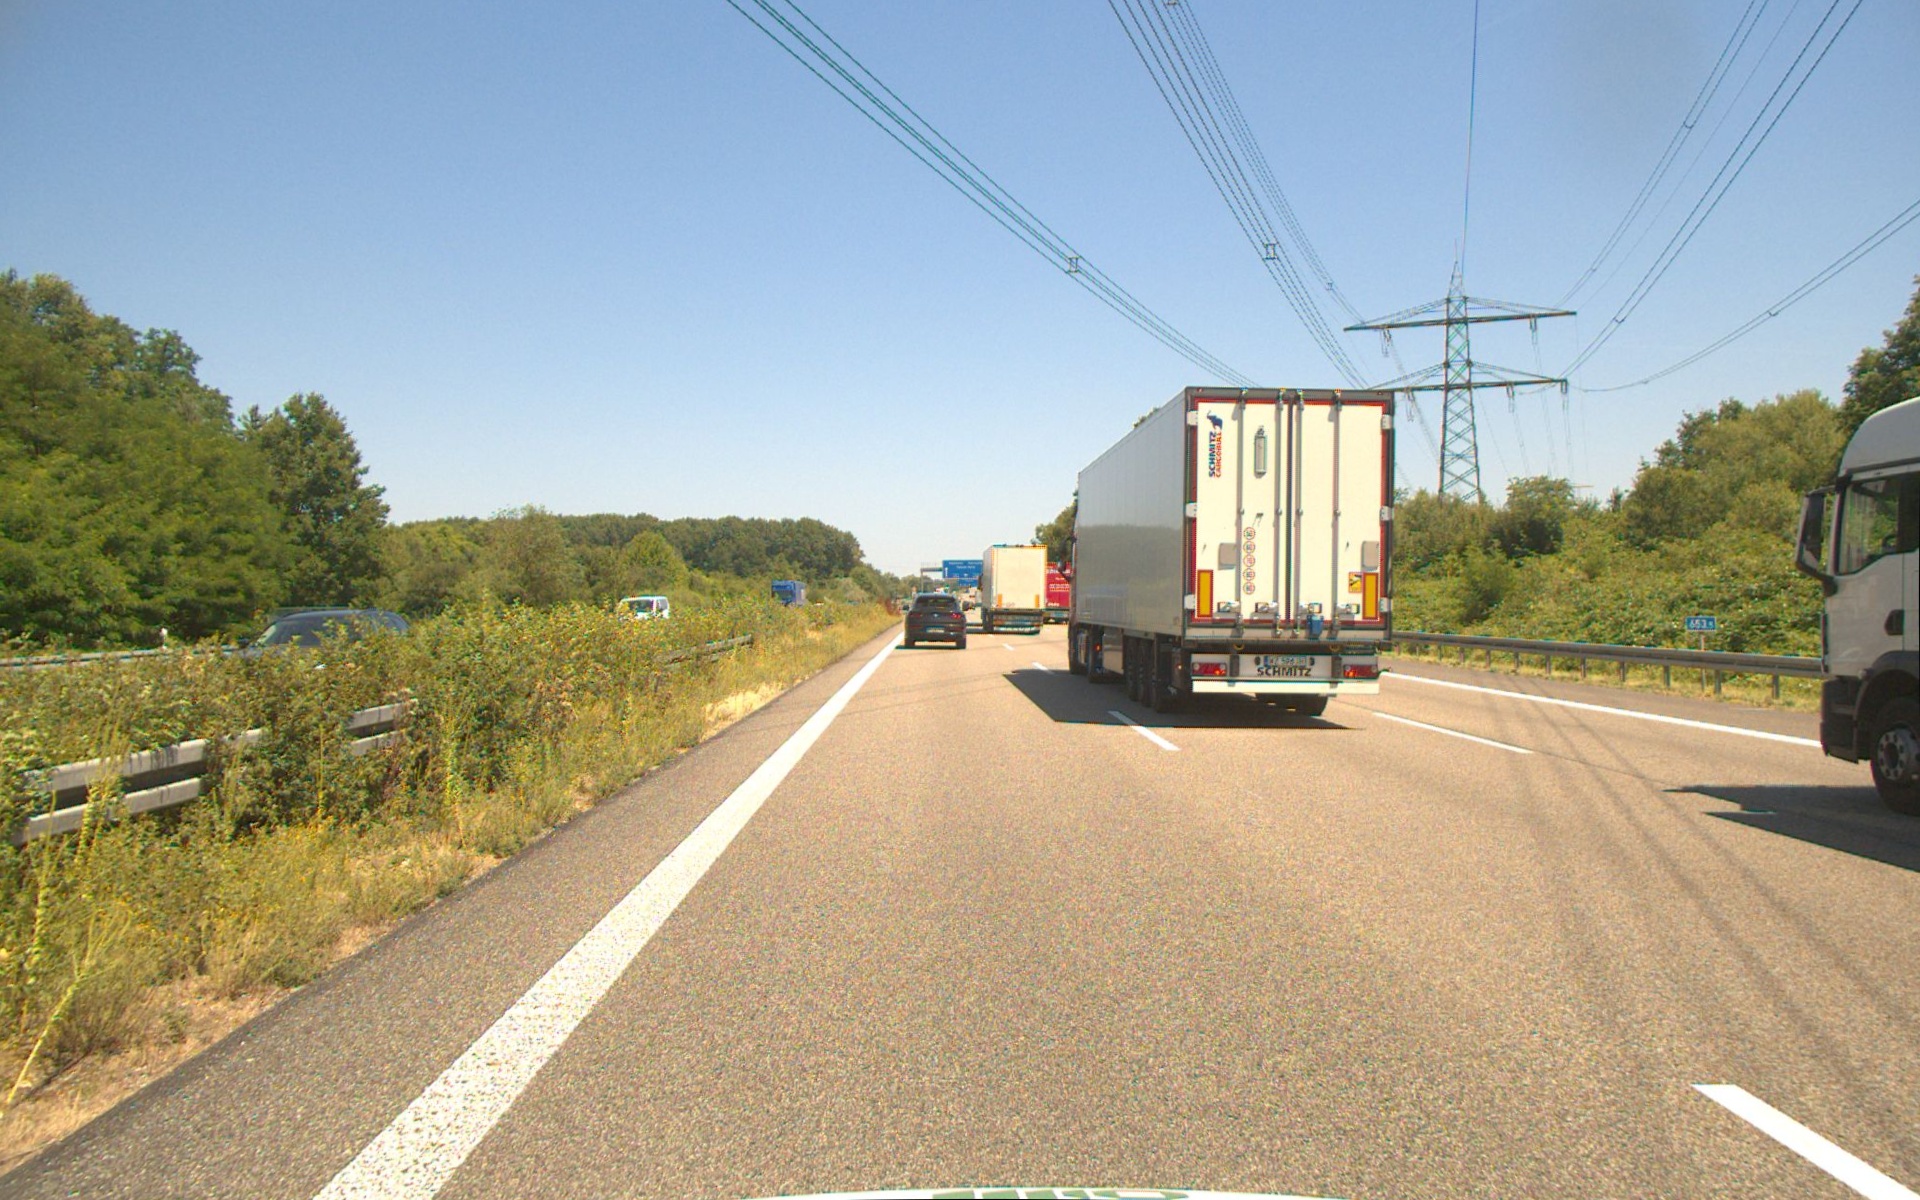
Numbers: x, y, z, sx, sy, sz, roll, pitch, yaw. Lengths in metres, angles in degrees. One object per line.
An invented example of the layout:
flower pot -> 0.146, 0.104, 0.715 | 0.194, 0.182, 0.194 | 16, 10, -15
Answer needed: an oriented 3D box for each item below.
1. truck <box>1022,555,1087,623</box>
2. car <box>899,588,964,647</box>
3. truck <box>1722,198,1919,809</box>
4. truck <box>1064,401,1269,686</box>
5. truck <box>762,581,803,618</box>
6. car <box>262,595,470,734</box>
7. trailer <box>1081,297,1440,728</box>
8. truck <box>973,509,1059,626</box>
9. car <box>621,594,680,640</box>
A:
truck -> 6.677, -0.746, 118.929 | 3.441, 4.571, 13.246 | 1, 0, -2
car -> -0.948, 0.514, 53.012 | 1.954, 1.803, 3.998 | 0, 0, -3
truck -> 8.605, -0.658, 8.669 | 3.499, 4.319, 11.647 | 1, 0, -2
truck -> 3.872, -0.996, 32.611 | 3.024, 4.970, 6.596 | 1, 0, -1
truck -> -19.423, -0.085, 181.741 | 3.441, 3.835, 12.039 | 1, 0, -2
car -> -9.532, 0.970, 26.897 | 1.953, 2.049, 3.999 | 1, 0, -1
trailer -> 3.981, -1.010, 25.504 | 3.024, 4.970, 12.255 | 1, 0, -1
truck -> 2.588, -1.508, 80.025 | 3.441, 5.257, 10.255 | 1, 0, -2
car -> -14.229, 0.772, 76.270 | 1.953, 2.049, 3.999 | 1, 0, -1
